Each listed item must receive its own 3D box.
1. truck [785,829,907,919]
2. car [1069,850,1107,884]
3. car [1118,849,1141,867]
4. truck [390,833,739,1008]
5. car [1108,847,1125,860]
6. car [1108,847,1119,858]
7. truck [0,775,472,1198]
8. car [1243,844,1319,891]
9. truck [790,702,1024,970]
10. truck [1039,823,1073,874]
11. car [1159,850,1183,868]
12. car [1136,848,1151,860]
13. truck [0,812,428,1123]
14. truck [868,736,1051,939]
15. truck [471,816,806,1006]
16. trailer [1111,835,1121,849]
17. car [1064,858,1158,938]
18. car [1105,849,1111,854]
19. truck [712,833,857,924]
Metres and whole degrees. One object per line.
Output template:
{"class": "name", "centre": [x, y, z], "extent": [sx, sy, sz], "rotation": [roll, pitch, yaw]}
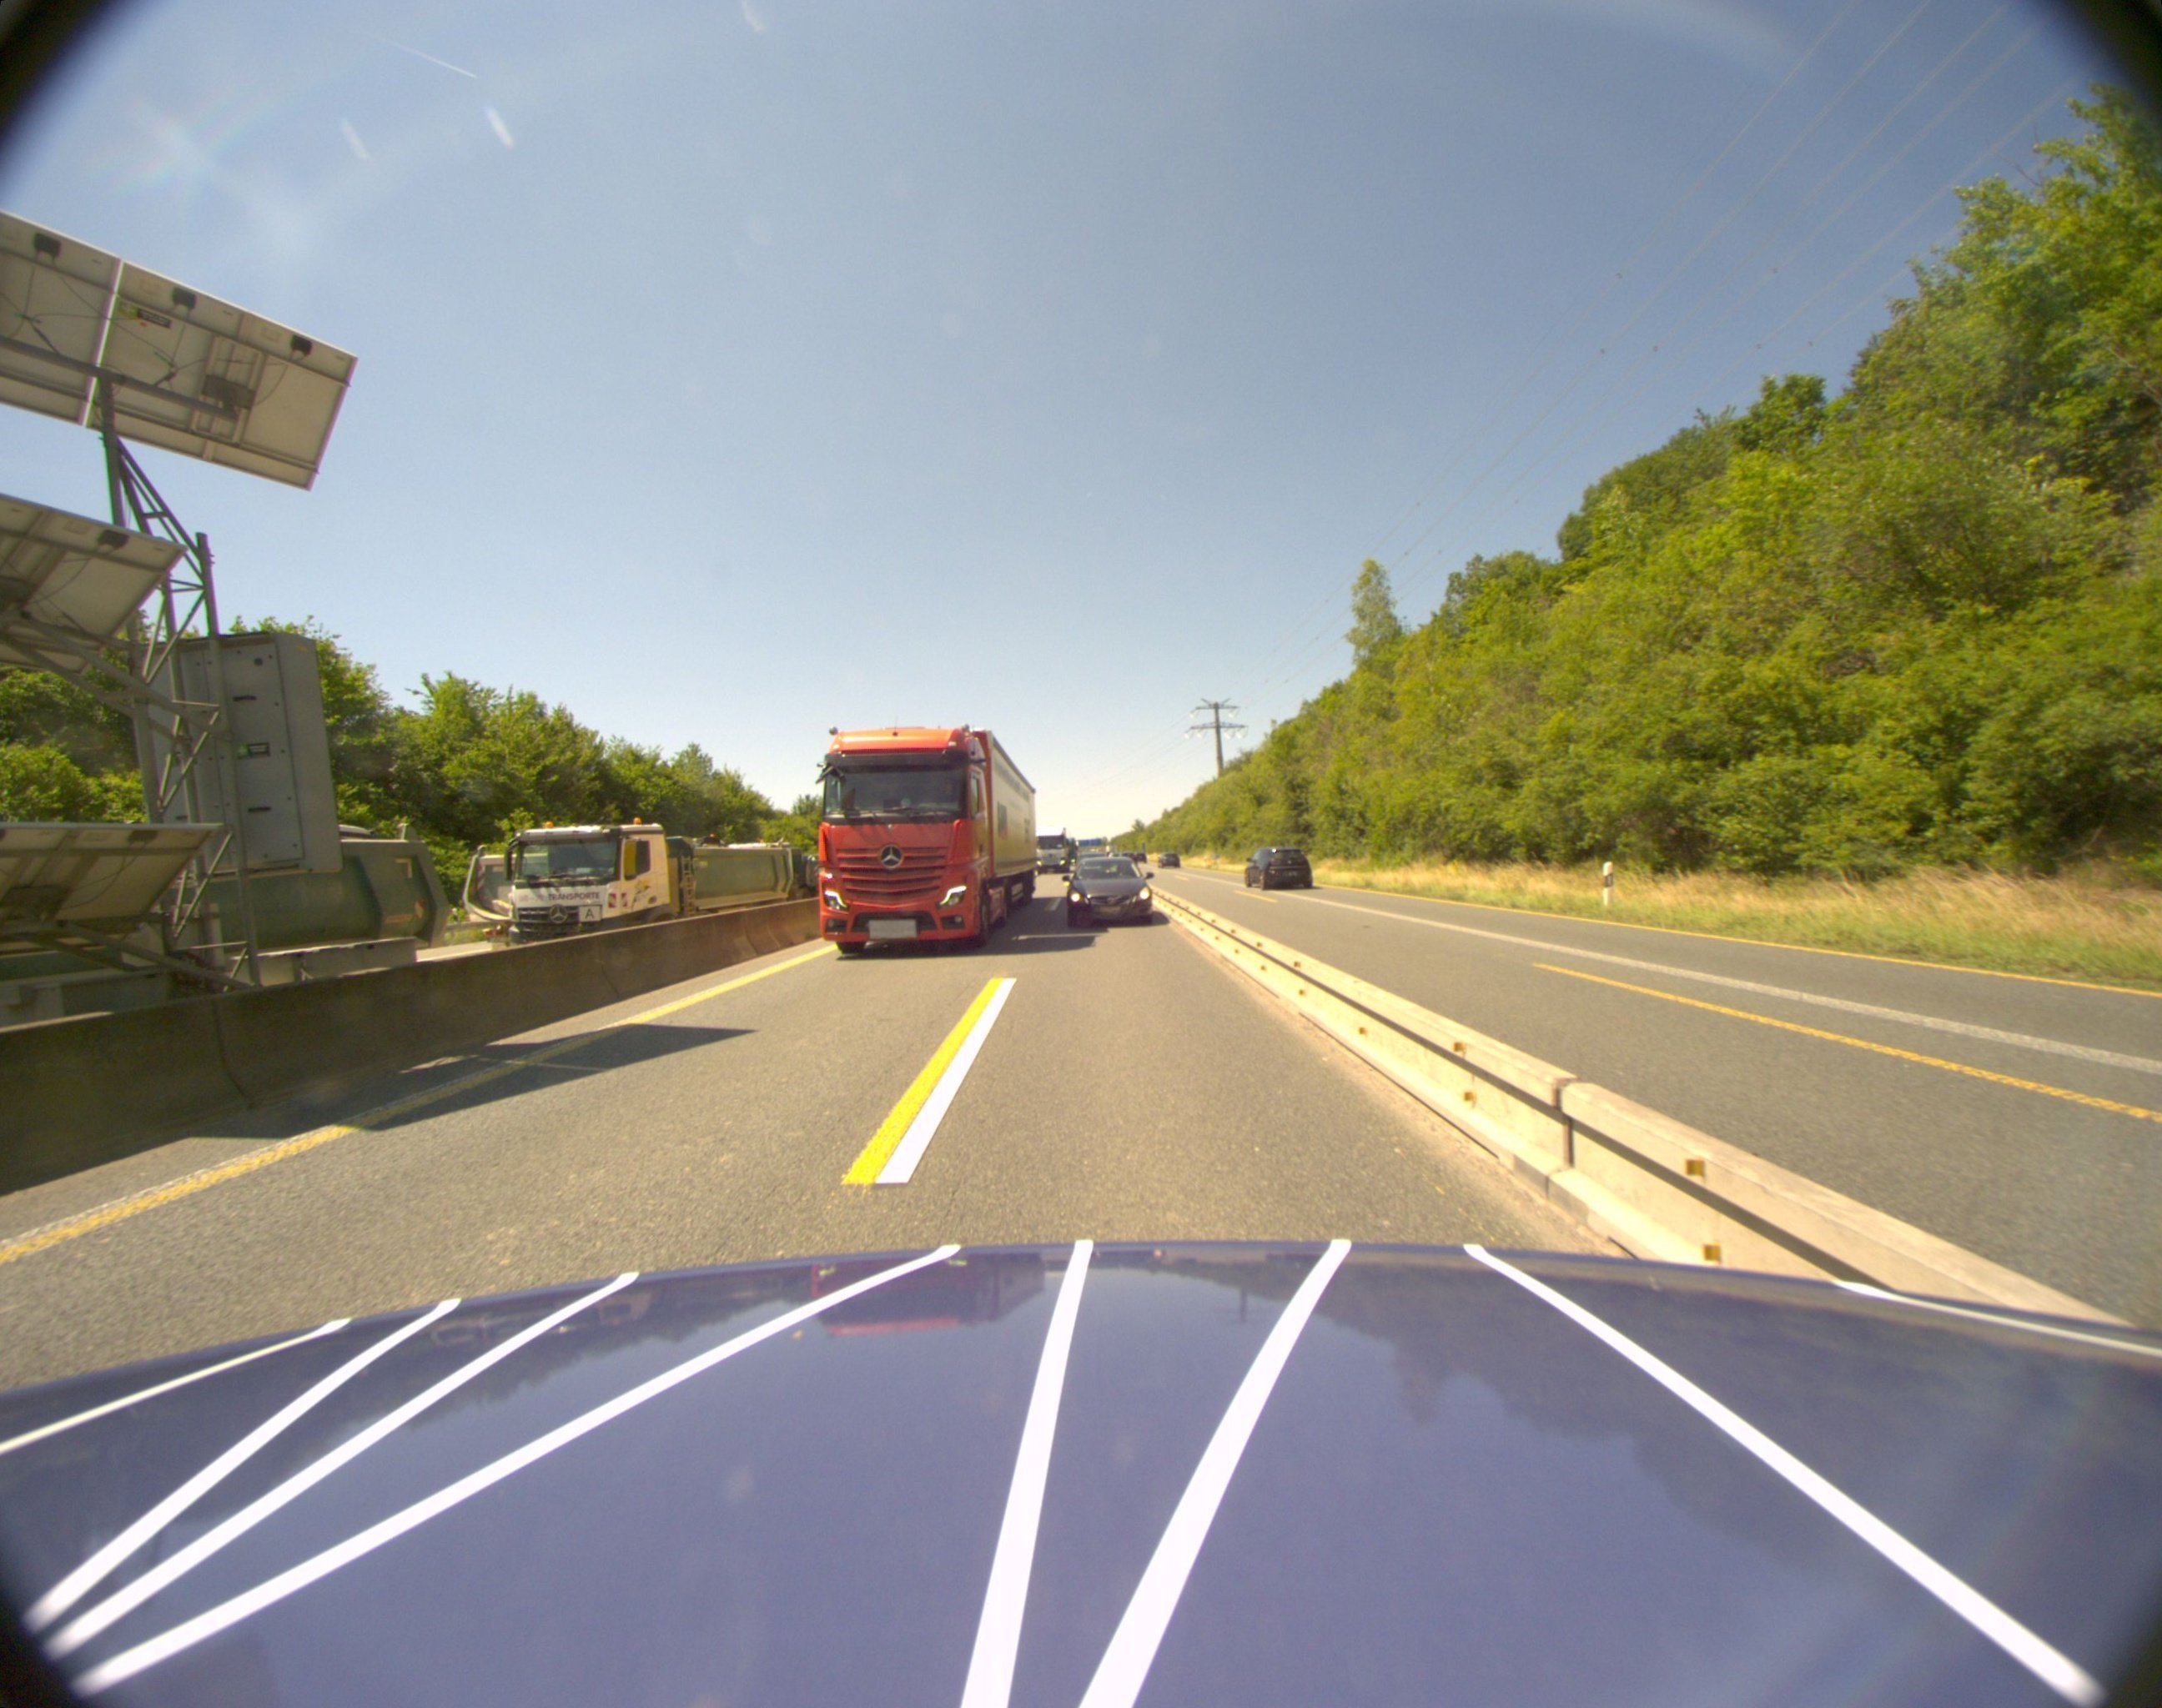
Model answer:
{"class": "truck", "centre": [-10.633, 0.787, 35.695], "extent": [2.545, 3.536, 9.601], "rotation": [-2, 0, 0]}
{"class": "car", "centre": [0.376, 0.608, 38.682], "extent": [1.767, 1.523, 4.698], "rotation": [-3, 1, 1]}
{"class": "car", "centre": [4.744, 0.348, 74.834], "extent": [1.848, 1.601, 4.699], "rotation": [-4, 0, 1]}
{"class": "truck", "centre": [-12.919, 1.357, 20.616], "extent": [2.694, 3.536, 9.601], "rotation": [-2, 0, 0]}
{"class": "car", "centre": [4.512, -0.082, 96.975], "extent": [1.848, 1.524, 4.671], "rotation": [-3, 0, 1]}
{"class": "car", "centre": [6.360, -0.305, 150.020], "extent": [1.895, 2.002, 4.817], "rotation": [-3, 0, 1]}
{"class": "truck", "centre": [-10.414, 1.153, 6.378], "extent": [2.694, 3.536, 9.406], "rotation": [-2, 0, 1]}
{"class": "car", "centre": [7.367, 0.456, 28.434], "extent": [1.783, 1.567, 4.069], "rotation": [-2, 0, 1]}
{"class": "truck", "centre": [-2.926, -0.310, 15.019], "extent": [2.689, 3.987, 6.725], "rotation": [-3, 1, 2]}
{"class": "truck", "centre": [-2.148, -0.493, 68.802], "extent": [2.481, 4.030, 13.109], "rotation": [-2, 0, 0]}
{"class": "car", "centre": [8.206, 0.430, 69.835], "extent": [1.727, 1.513, 4.184], "rotation": [-2, 0, 1]}
{"class": "car", "centre": [8.599, -0.053, 105.243], "extent": [1.704, 1.556, 3.994], "rotation": [-3, 0, 1]}
{"class": "truck", "centre": [-13.064, 1.279, 8.626], "extent": [2.694, 3.358, 9.602], "rotation": [-2, 0, 1]}
{"class": "truck", "centre": [-2.715, -0.417, 21.968], "extent": [2.689, 3.987, 13.218], "rotation": [-3, 1, 1]}
{"class": "truck", "centre": [-10.199, 1.071, 19.345], "extent": [2.694, 3.536, 9.602], "rotation": [-2, 0, 1]}
{"class": "trailer", "centre": [11.021, -3.814, 238.814], "extent": [2.644, 4.287, 8.447], "rotation": [-3, 0, 0]}
{"class": "car", "centre": [0.619, 0.855, 16.951], "extent": [1.767, 1.411, 4.698], "rotation": [-2, 1, 1]}
{"class": "car", "centre": [7.934, -0.790, 225.059], "extent": [1.717, 1.417, 4.169], "rotation": [-3, 1, 0]}
{"class": "truck", "centre": [-13.256, 0.944, 35.144], "extent": [2.694, 3.536, 9.602], "rotation": [-2, 0, 1]}
